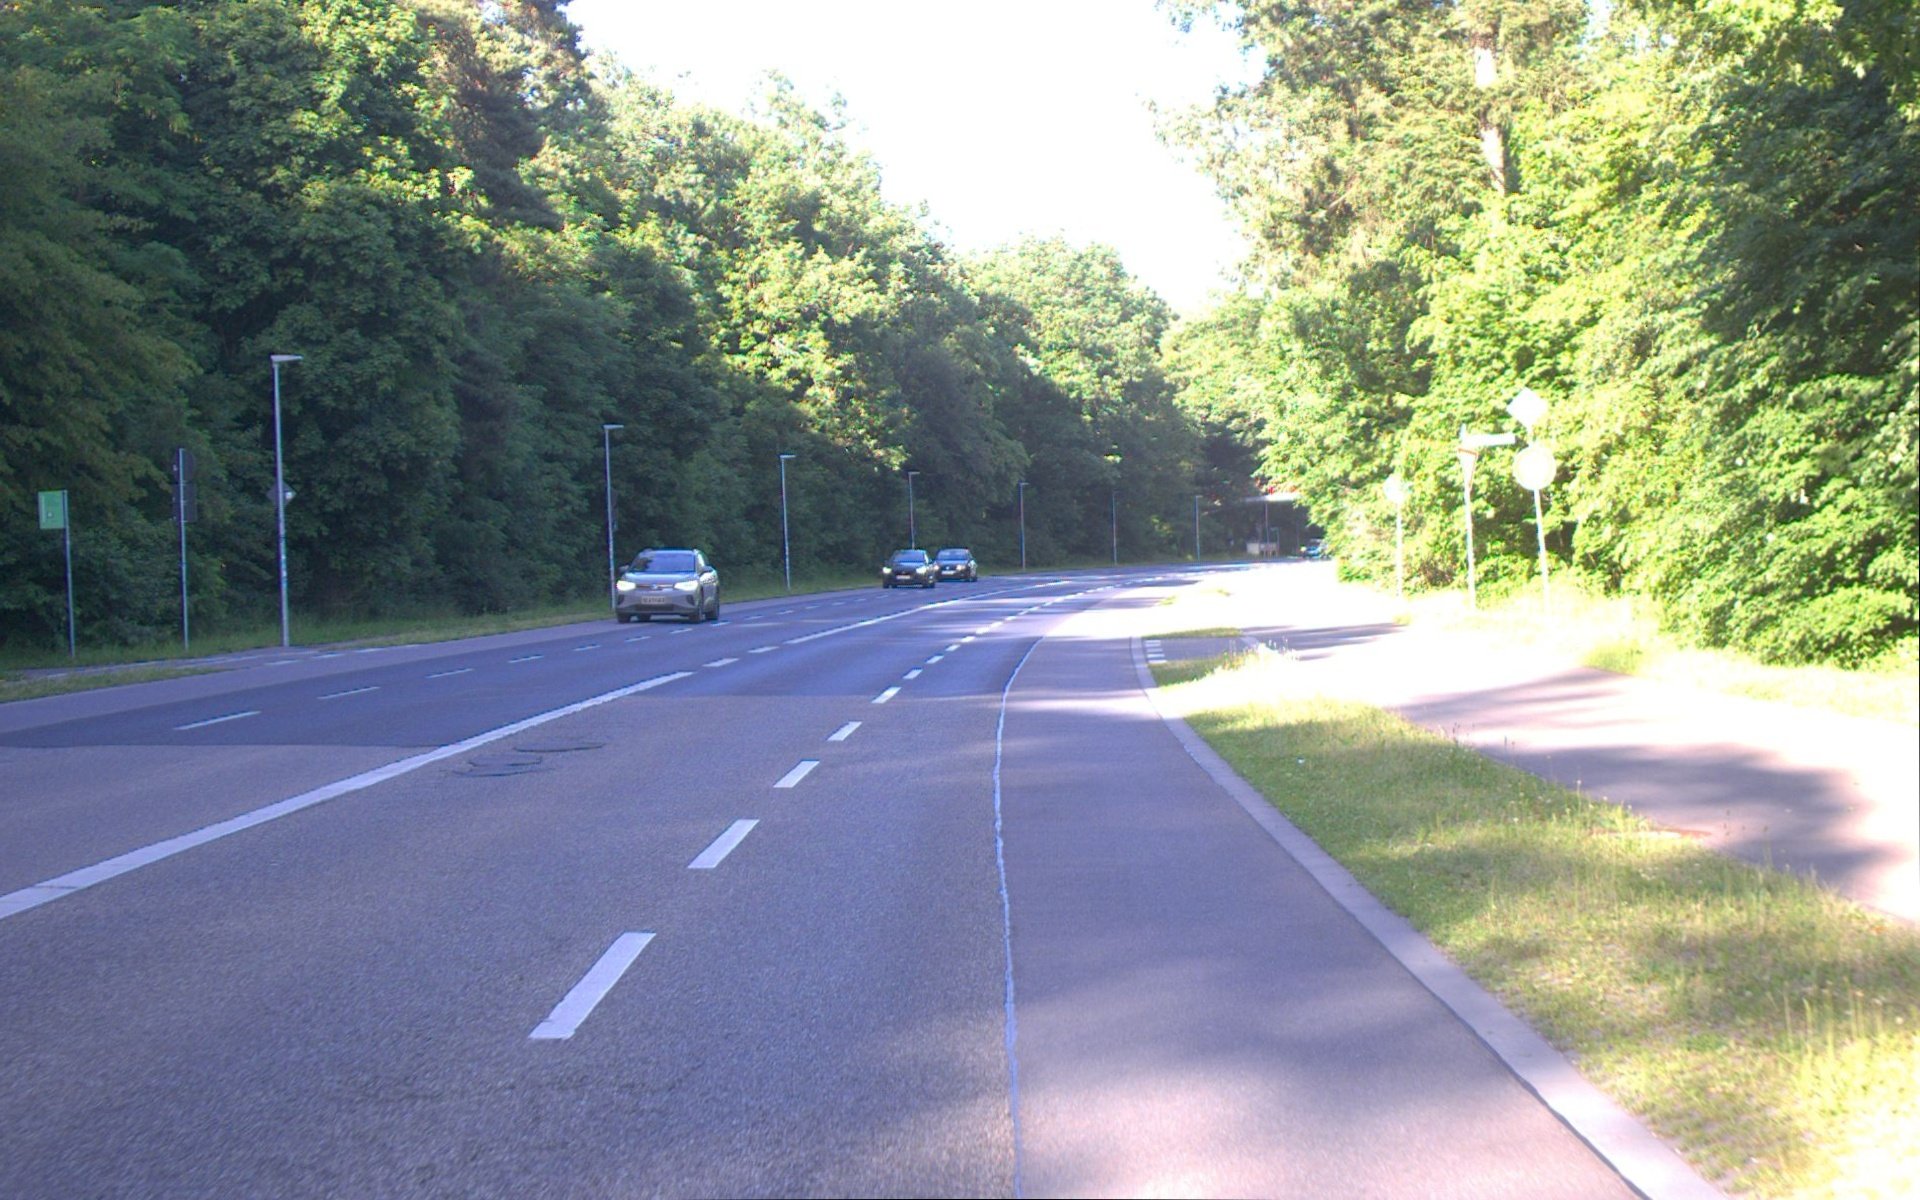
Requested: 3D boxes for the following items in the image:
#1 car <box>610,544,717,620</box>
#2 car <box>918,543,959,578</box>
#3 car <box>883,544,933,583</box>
[{"bbox_3d":[-6.567,-0.423,76.616,1.896,1.605,4.449,1,1,1],"label":"car"},{"bbox_3d":[-0.928,-1.737,150.721,1.657,1.475,4.172,0,1,1],"label":"car"},{"bbox_3d":[-1.974,-1.415,131.327,1.739,1.452,3.999,1,1,1],"label":"car"}]
